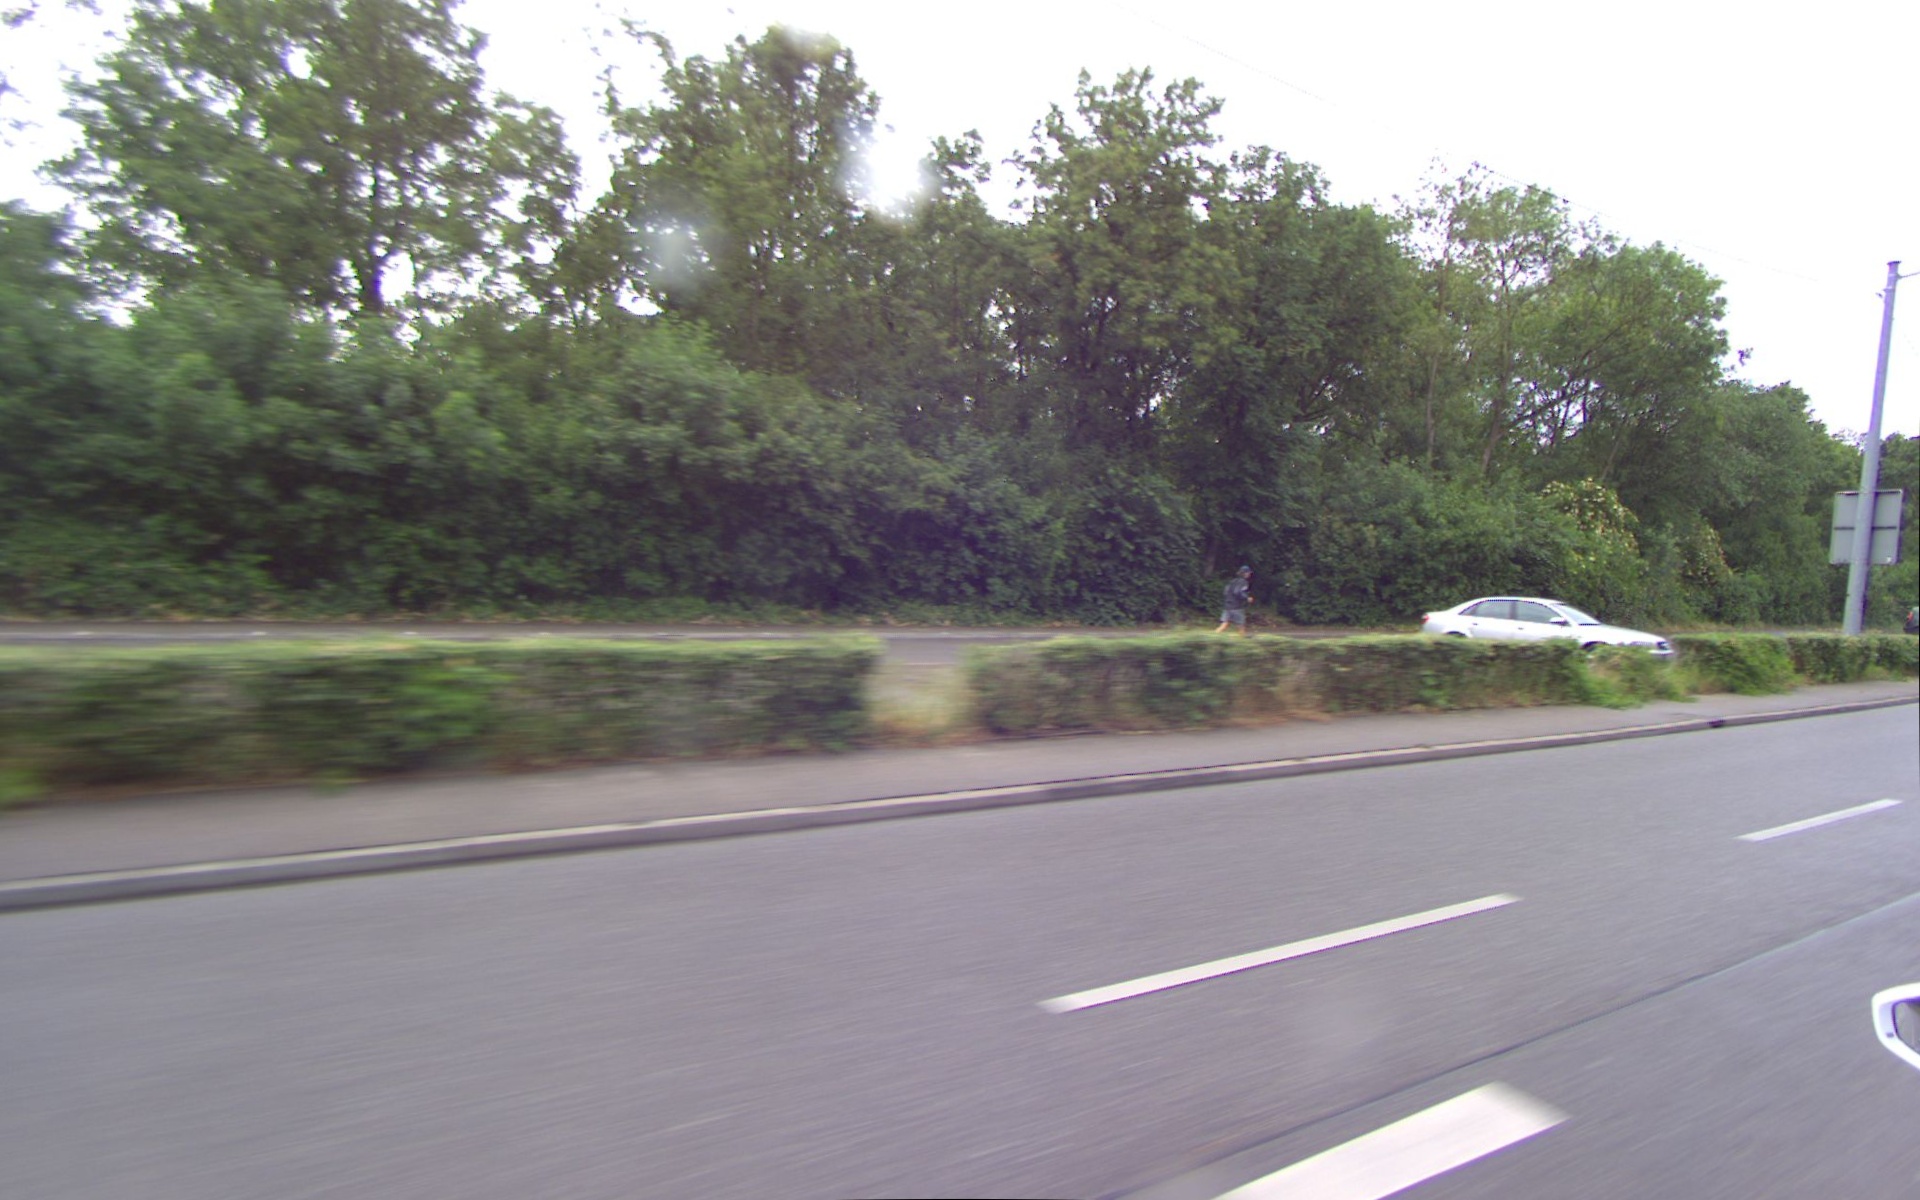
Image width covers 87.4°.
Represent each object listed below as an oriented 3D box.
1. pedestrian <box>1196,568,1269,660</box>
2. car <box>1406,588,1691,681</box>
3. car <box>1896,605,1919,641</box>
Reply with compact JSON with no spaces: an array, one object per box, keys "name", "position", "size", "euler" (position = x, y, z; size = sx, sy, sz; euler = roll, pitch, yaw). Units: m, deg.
[{"name":"pedestrian","position":[5.545,0.283,20.433],"size":[1.121,1.822,0.814],"euler":[1,1,-26]},{"name":"car","position":[11.732,0.602,20.317],"size":[1.983,1.526,4.538],"euler":[1,2,-38]},{"name":"car","position":[48.156,1.215,48.311],"size":[1.981,1.731,4.261],"euler":[1,2,-36]}]
